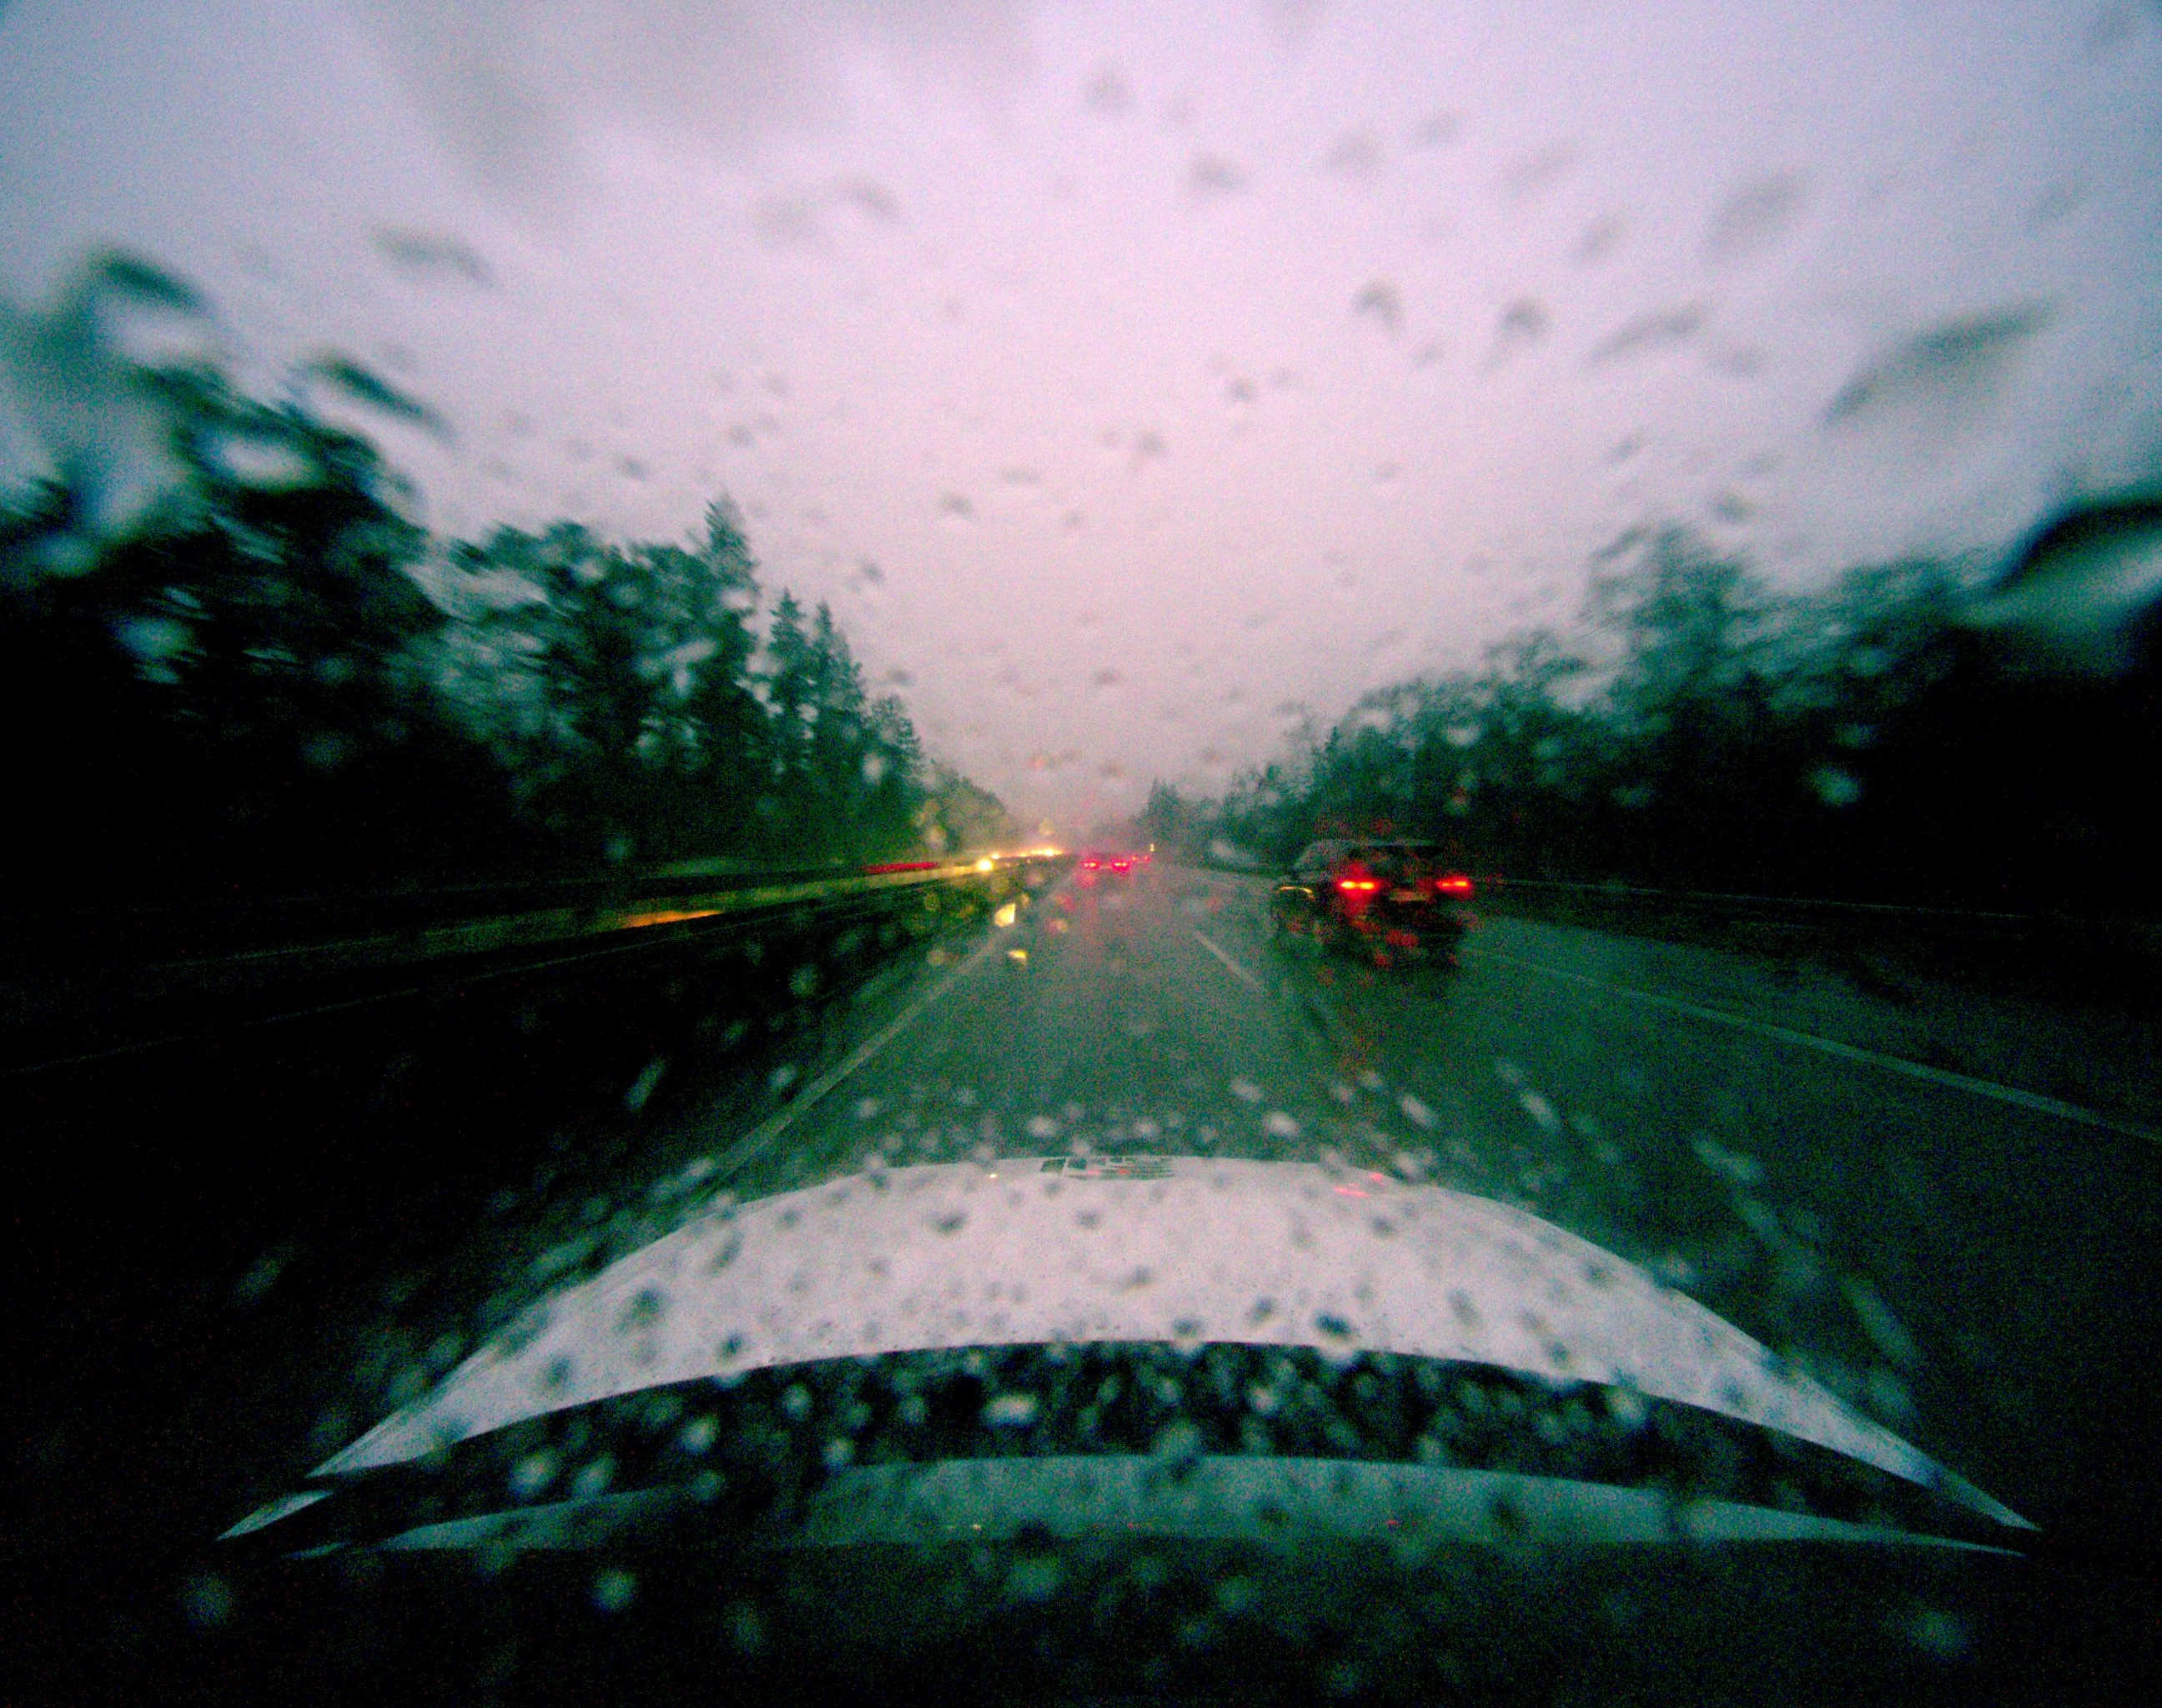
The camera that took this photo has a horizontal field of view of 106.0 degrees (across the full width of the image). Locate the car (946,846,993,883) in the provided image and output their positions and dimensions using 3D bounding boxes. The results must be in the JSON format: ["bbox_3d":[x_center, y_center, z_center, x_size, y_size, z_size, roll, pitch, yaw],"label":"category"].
[{"bbox_3d":[-6.375,0.575,47.090,1.926,2.013,4.640,-1,0,1],"label":"car"}]

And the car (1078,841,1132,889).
[{"bbox_3d":[0.904,0.435,32.954,1.980,1.767,4.172,-2,0,-1],"label":"car"}]

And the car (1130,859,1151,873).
[{"bbox_3d":[6.095,1.222,83.266,1.775,1.437,3.535,0,0,-2],"label":"car"}]

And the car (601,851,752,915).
[{"bbox_3d":[-11.196,0.801,22.922,1.987,1.574,4.272,2,-2,0],"label":"car"}]

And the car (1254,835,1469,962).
[{"bbox_3d":[4.262,0.603,13.251,2.063,1.697,4.463,-1,0,2],"label":"car"}]
